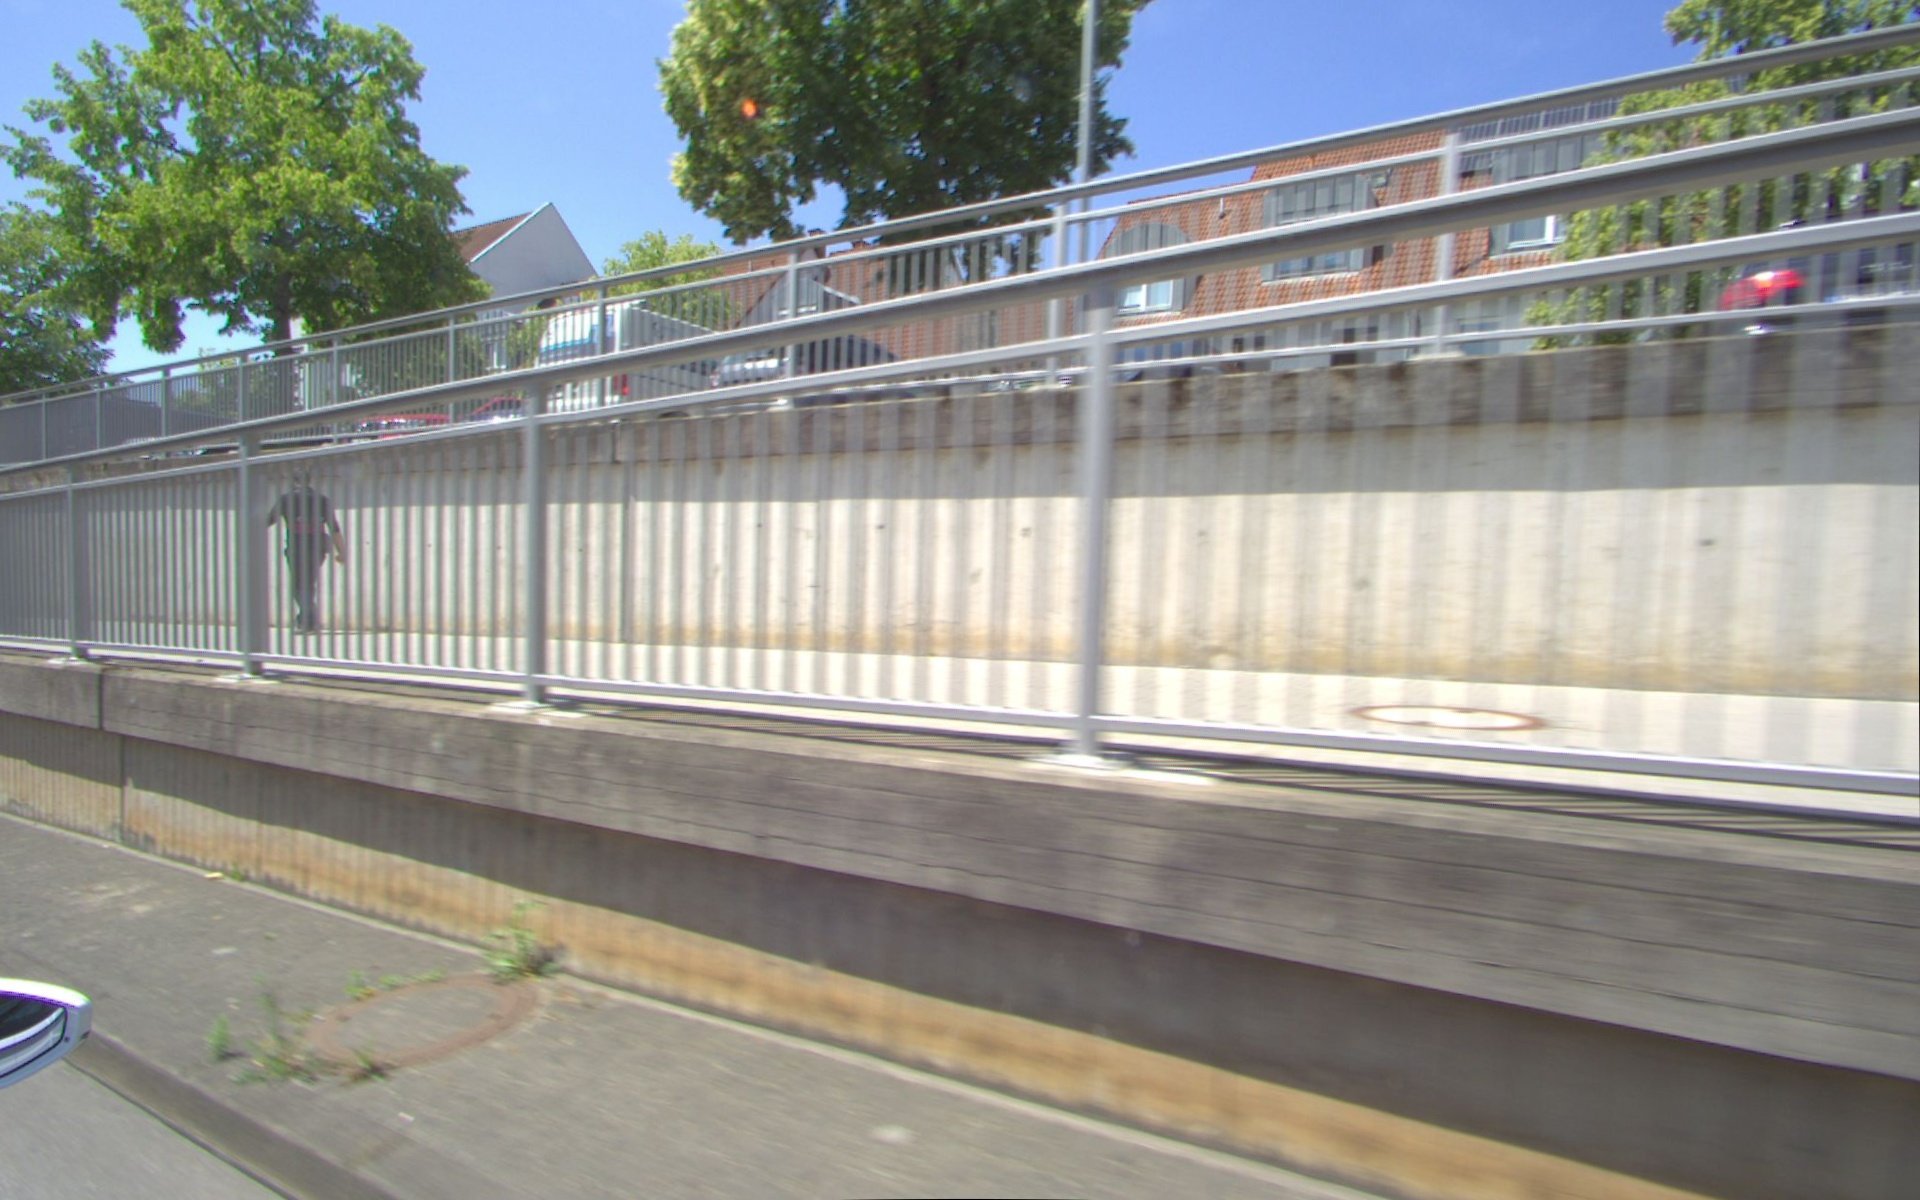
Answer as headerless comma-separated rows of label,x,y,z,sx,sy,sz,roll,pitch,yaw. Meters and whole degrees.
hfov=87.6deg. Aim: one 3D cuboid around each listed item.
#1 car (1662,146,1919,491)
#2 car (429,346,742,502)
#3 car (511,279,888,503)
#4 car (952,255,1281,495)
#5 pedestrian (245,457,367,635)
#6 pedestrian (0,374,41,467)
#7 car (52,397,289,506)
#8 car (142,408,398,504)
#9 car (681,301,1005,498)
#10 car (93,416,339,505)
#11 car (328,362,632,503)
car,6.359,-1.773,7.412,1.662,1.519,4.194,3,2,33
car,-5.376,-2.439,14.891,1.662,1.618,4.194,3,2,33
car,-3.347,-2.614,13.997,1.960,2.092,5.100,3,2,33
car,1.822,-2.043,10.311,1.723,1.519,4.275,3,2,33
pedestrian,-7.024,-0.550,10.768,0.777,1.806,0.834,1,1,32
pedestrian,-19.827,-3.748,21.016,0.585,1.804,0.671,3,3,34
car,-17.698,-3.235,22.635,1.662,1.911,3.896,3,2,33
car,-13.663,-2.774,20.030,1.662,1.386,3.896,3,2,33
car,-1.240,-2.251,12.352,1.662,1.618,4.194,3,2,33
car,-15.694,-2.877,21.317,1.662,1.386,3.896,3,2,33
car,-7.577,-2.555,16.214,1.662,1.618,4.194,3,2,33
